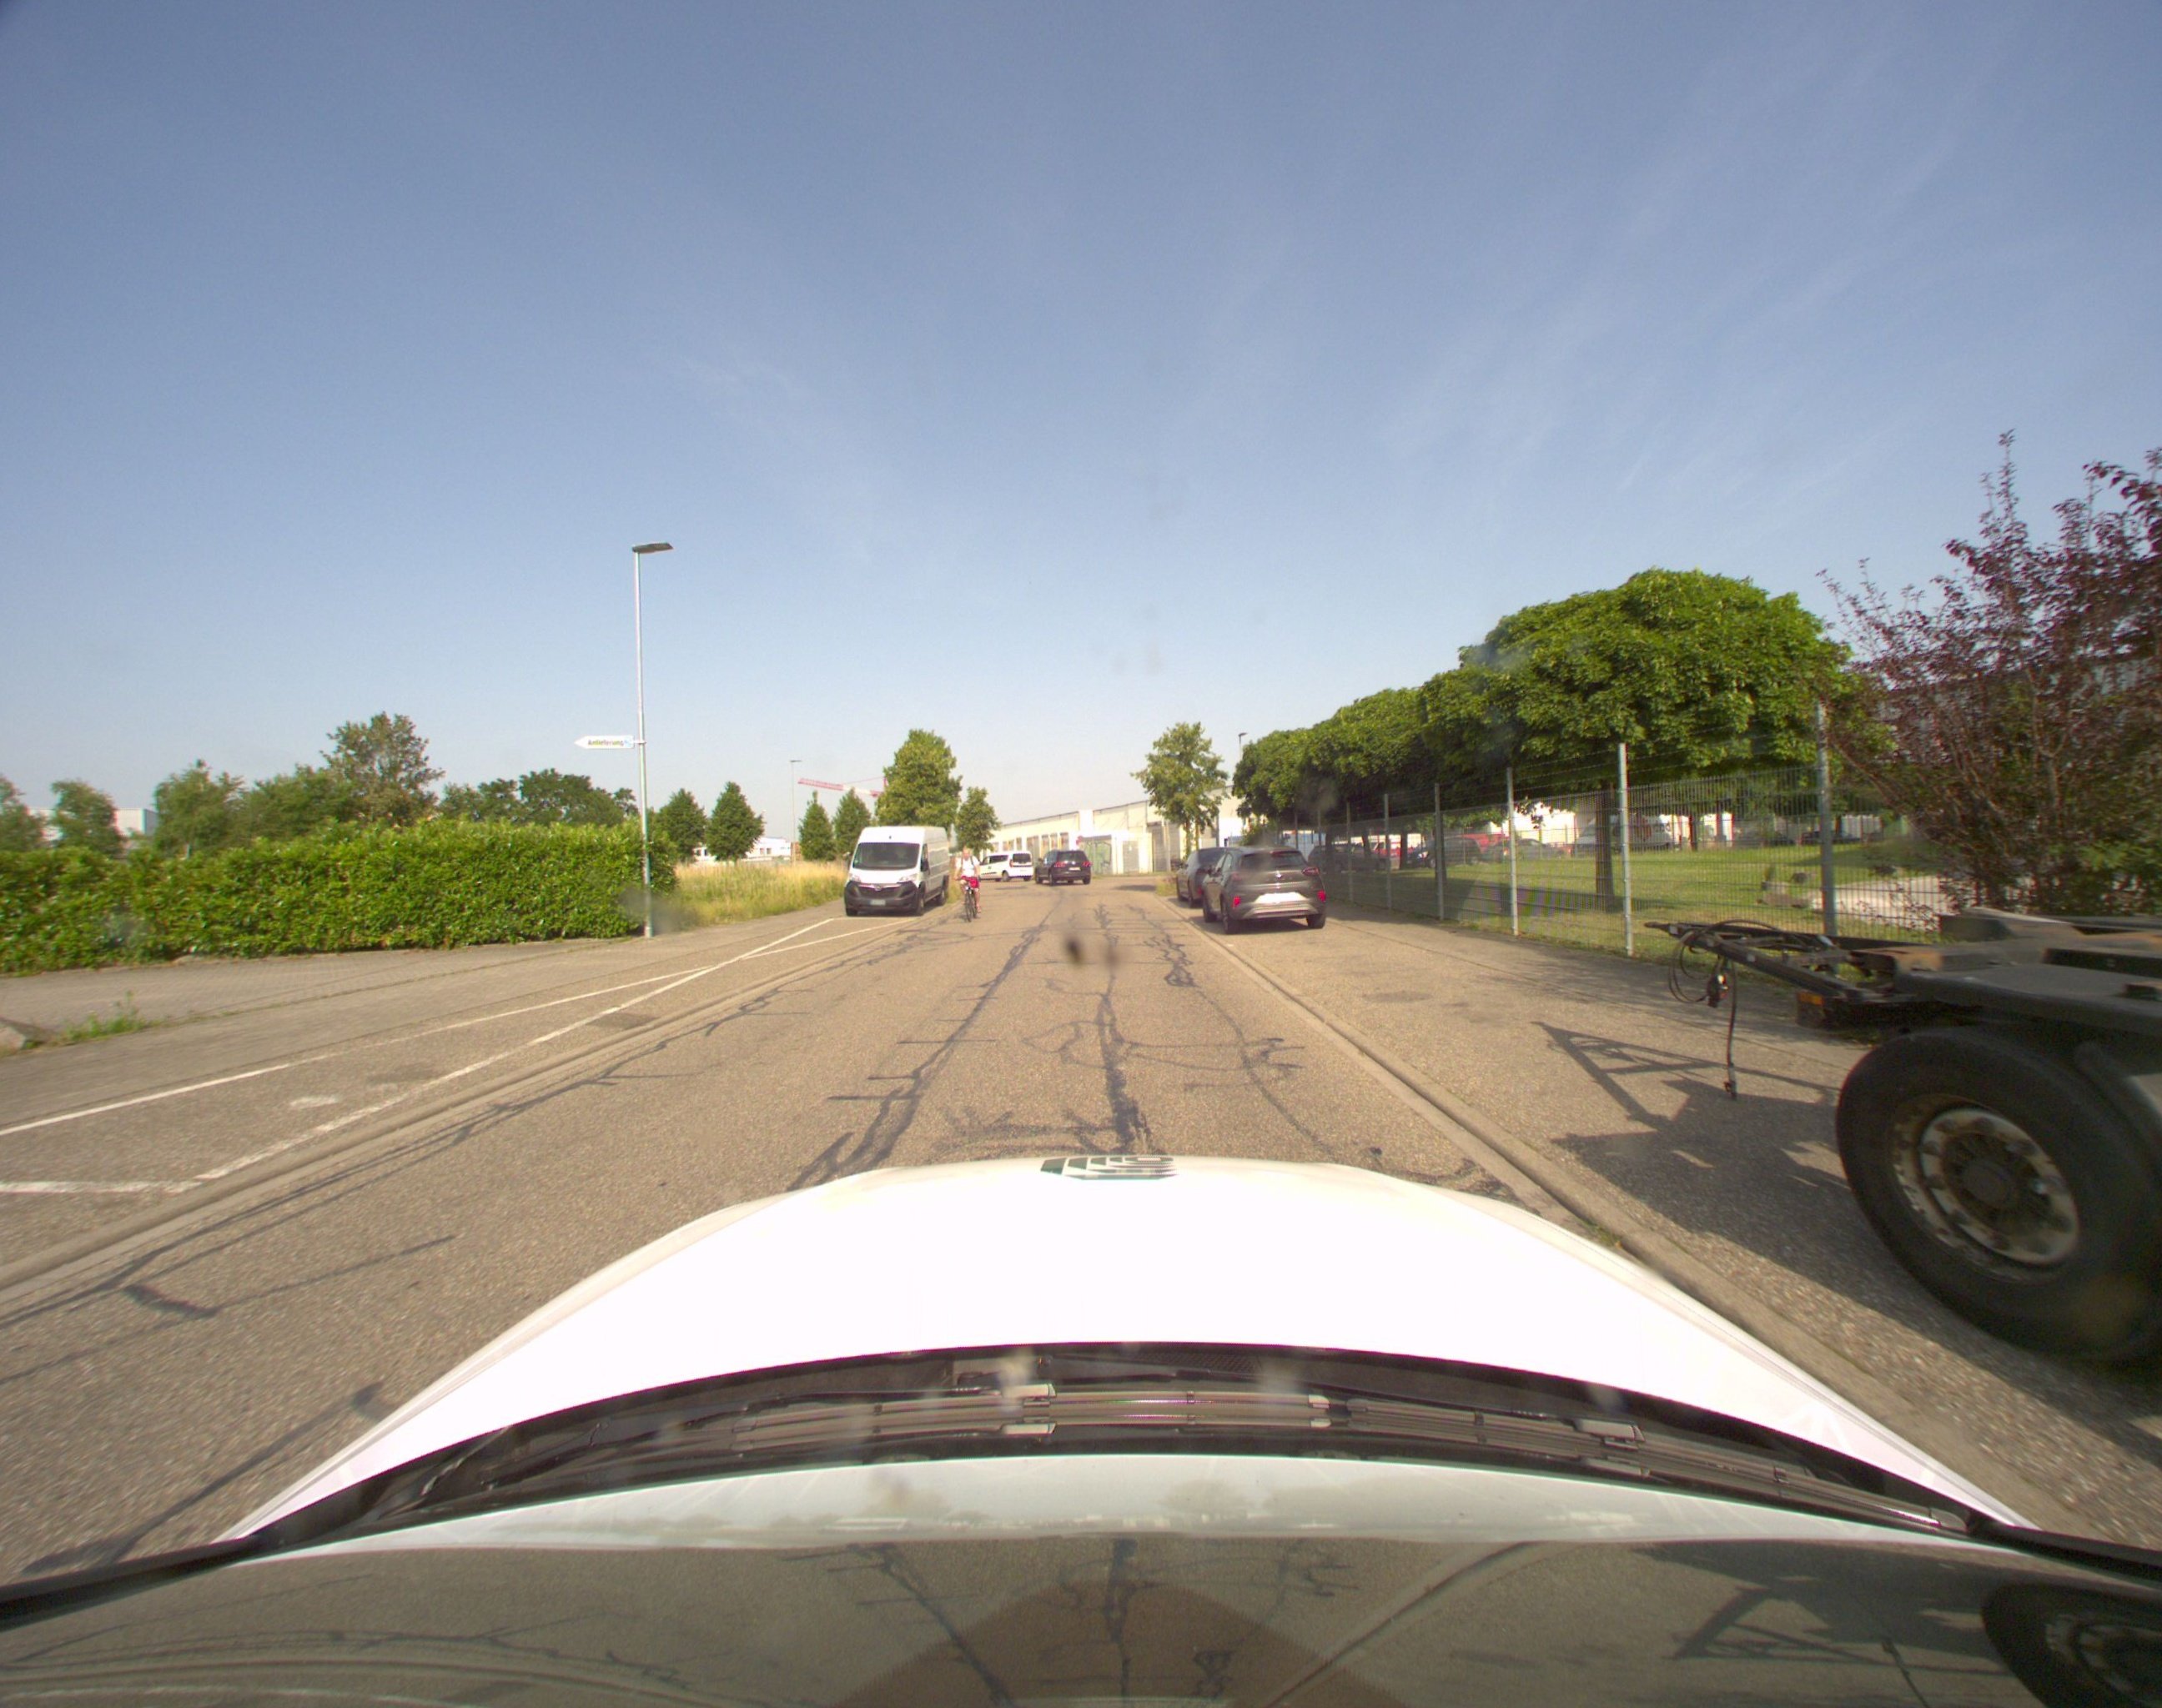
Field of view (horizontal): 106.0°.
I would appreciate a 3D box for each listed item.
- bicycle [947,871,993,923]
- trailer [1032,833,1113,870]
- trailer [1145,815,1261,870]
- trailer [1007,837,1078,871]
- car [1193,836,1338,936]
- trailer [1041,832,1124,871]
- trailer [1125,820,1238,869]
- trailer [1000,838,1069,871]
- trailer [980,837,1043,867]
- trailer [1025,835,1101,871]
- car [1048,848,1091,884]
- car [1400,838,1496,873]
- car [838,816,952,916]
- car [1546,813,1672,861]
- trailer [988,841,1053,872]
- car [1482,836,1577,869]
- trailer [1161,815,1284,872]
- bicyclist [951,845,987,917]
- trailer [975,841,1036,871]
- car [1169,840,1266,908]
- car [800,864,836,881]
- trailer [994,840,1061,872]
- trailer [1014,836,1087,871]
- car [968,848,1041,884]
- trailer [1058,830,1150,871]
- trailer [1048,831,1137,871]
[{"bbox_3d":[-2.756,1.041,20.363,0.713,1.122,2.220,-4,0,1],"label":"bicycle"},{"bbox_3d":[-0.940,-0.247,87.721,8.343,3.894,2.754,0,-1,-23],"label":"trailer"},{"bbox_3d":[9.454,-0.909,63.032,8.569,3.893,2.756,-2,0,-22],"label":"trailer"},{"bbox_3d":[-4.516,0.020,96.923,7.996,3.894,2.754,0,-1,-23],"label":"trailer"},{"bbox_3d":[3.394,0.558,15.786,1.874,1.574,4.114,-3,-1,1],"label":"car"},{"bbox_3d":[0.189,-0.230,84.897,8.343,3.894,2.754,0,-1,-23],"label":"trailer"},{"bbox_3d":[8.127,-0.786,65.710,8.769,3.761,2.769,-1,-1,-23],"label":"trailer"},{"bbox_3d":[-5.660,0.071,99.933,7.996,3.894,2.754,0,-1,-23],"label":"trailer"},{"bbox_3d":[-9.266,-0.264,109.163,7.996,3.894,2.754,0,-1,-23],"label":"trailer"},{"bbox_3d":[-2.034,-0.073,91.524,8.067,3.894,2.754,0,-1,-23],"label":"trailer"},{"bbox_3d":[-0.492,0.579,39.290,1.874,1.586,4.114,-2,-1,1],"label":"car"},{"bbox_3d":[18.133,0.042,40.232,4.270,1.625,1.865,-1,1,-21],"label":"car"},{"bbox_3d":[-5.370,0.315,24.544,2.096,2.595,6.499,0,0,-2],"label":"car"},{"bbox_3d":[29.698,-0.987,45.773,6.846,2.483,2.194,-2,1,-19],"label":"car"},{"bbox_3d":[-7.839,0.328,106.299,7.996,3.894,2.754,0,-1,-23],"label":"trailer"},{"bbox_3d":[23.429,-0.081,42.555,4.491,1.518,1.716,-2,-3,-19],"label":"car"},{"bbox_3d":[10.443,-0.787,59.993,8.567,3.894,2.756,-1,-3,-21],"label":"trailer"},{"bbox_3d":[-2.773,0.643,20.297,0.637,1.719,1.166,-2,0,1],"label":"bicyclist"},{"bbox_3d":[-10.359,0.298,111.922,7.996,3.894,2.754,0,-1,-23],"label":"trailer"},{"bbox_3d":[3.667,0.523,22.785,1.874,1.574,5.119,-4,-1,1],"label":"car"},{"bbox_3d":[-25.873,1.833,80.091,1.730,1.515,3.954,-4,1,-44],"label":"car"},{"bbox_3d":[-6.774,0.252,102.596,7.996,3.894,2.754,0,-1,-23],"label":"trailer"},{"bbox_3d":[-3.504,-0.051,94.115,7.996,3.894,2.754,0,-1,-23],"label":"trailer"},{"bbox_3d":[-4.795,0.776,50.488,2.140,2.110,4.568,-1,-1,-42],"label":"car"},{"bbox_3d":[2.225,-0.287,79.097,8.572,3.894,2.754,0,-1,-23],"label":"trailer"},{"bbox_3d":[1.159,-0.233,82.020,8.572,3.894,2.754,0,-1,-23],"label":"trailer"}]
